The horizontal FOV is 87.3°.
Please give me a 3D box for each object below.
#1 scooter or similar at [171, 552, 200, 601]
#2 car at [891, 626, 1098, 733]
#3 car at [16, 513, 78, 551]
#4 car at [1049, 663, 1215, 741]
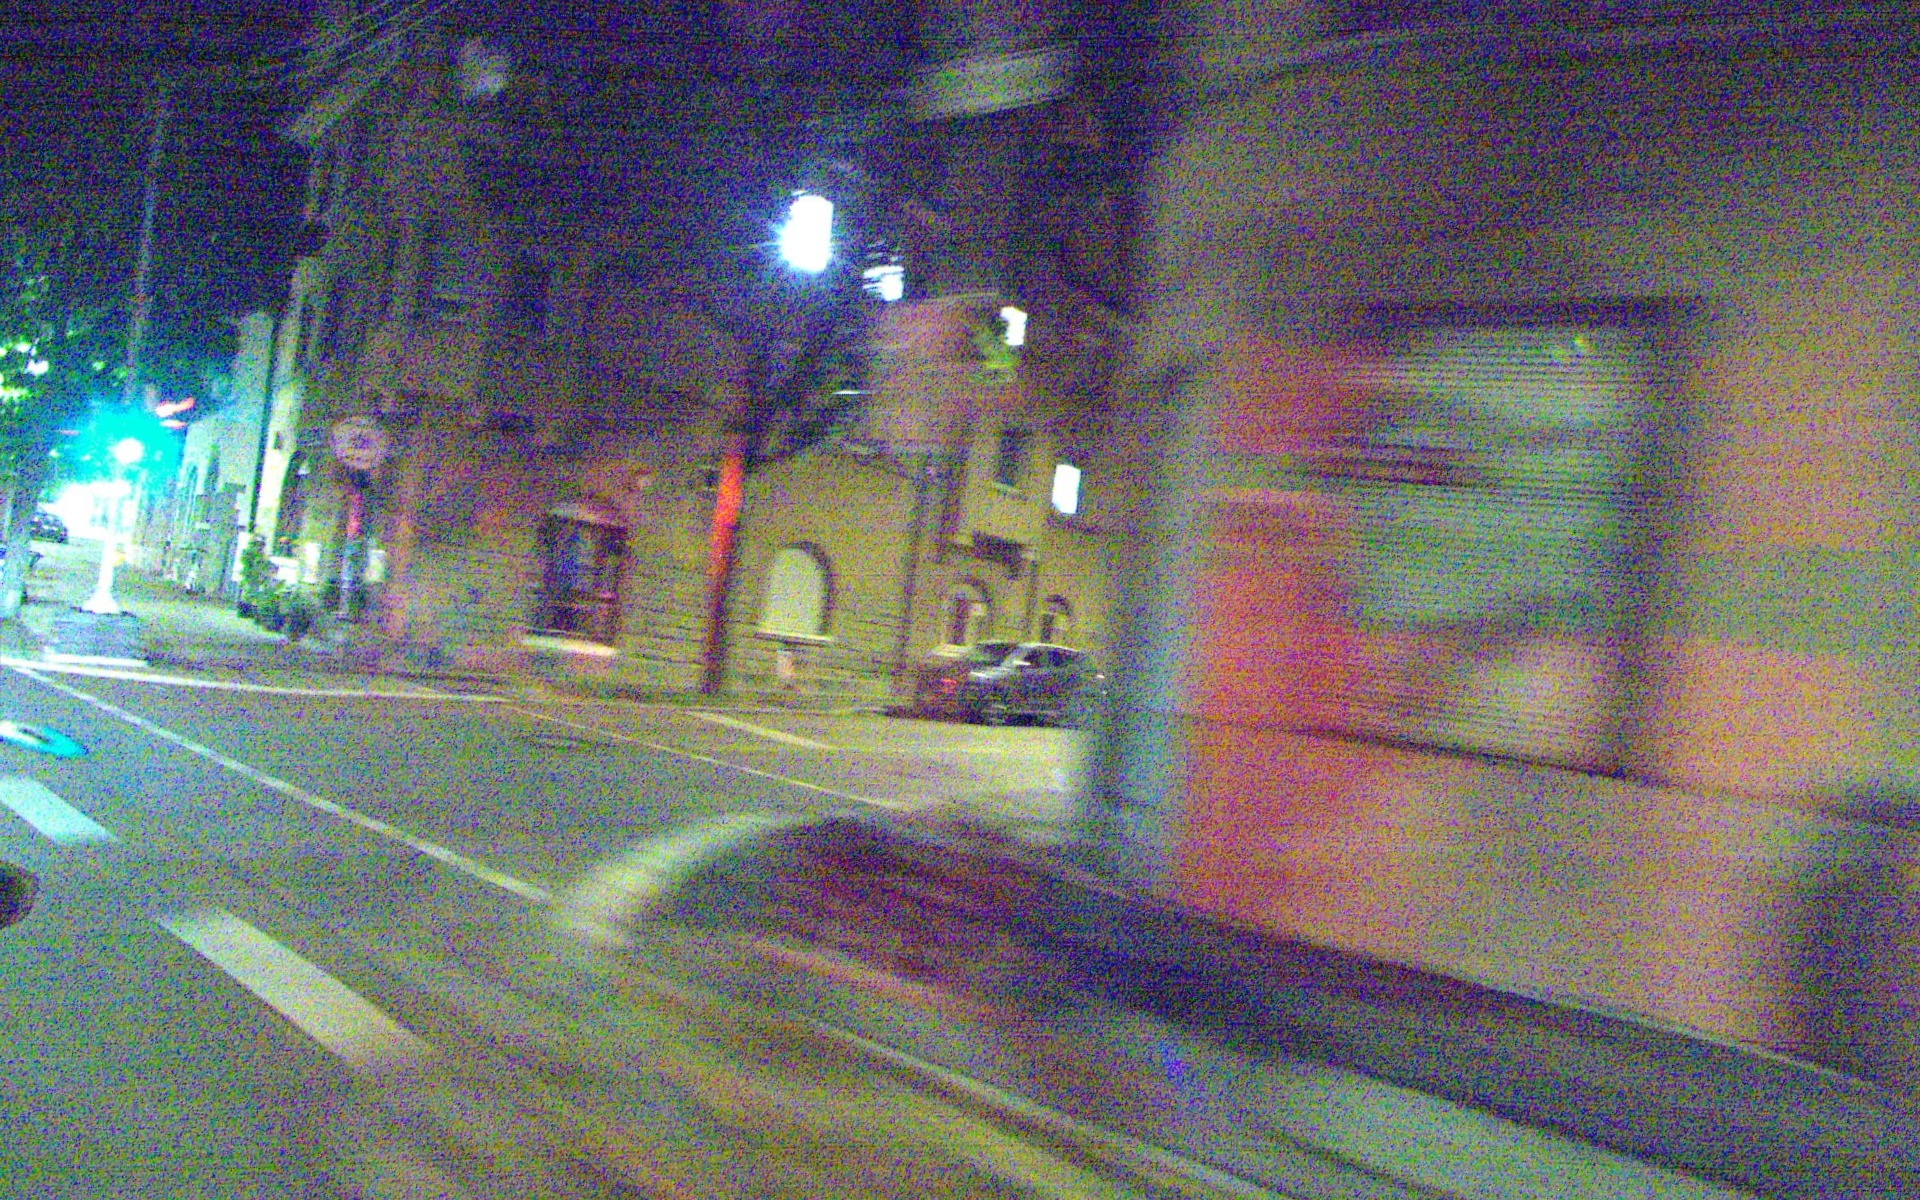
[{"bbox_3d":[-19.593,-0.599,25.476,0.419,1.143,1.479,8,-2,-36],"label":"scooter or similar"},{"bbox_3d":[0.767,1.620,20.040,1.845,1.710,3.982,1,-7,44],"label":"car"},{"bbox_3d":[-45.996,-3.434,50.669,4.663,1.475,1.733,6,-3,42],"label":"car"},{"bbox_3d":[4.101,2.422,23.648,1.878,1.442,3.982,1,-7,44],"label":"car"}]
